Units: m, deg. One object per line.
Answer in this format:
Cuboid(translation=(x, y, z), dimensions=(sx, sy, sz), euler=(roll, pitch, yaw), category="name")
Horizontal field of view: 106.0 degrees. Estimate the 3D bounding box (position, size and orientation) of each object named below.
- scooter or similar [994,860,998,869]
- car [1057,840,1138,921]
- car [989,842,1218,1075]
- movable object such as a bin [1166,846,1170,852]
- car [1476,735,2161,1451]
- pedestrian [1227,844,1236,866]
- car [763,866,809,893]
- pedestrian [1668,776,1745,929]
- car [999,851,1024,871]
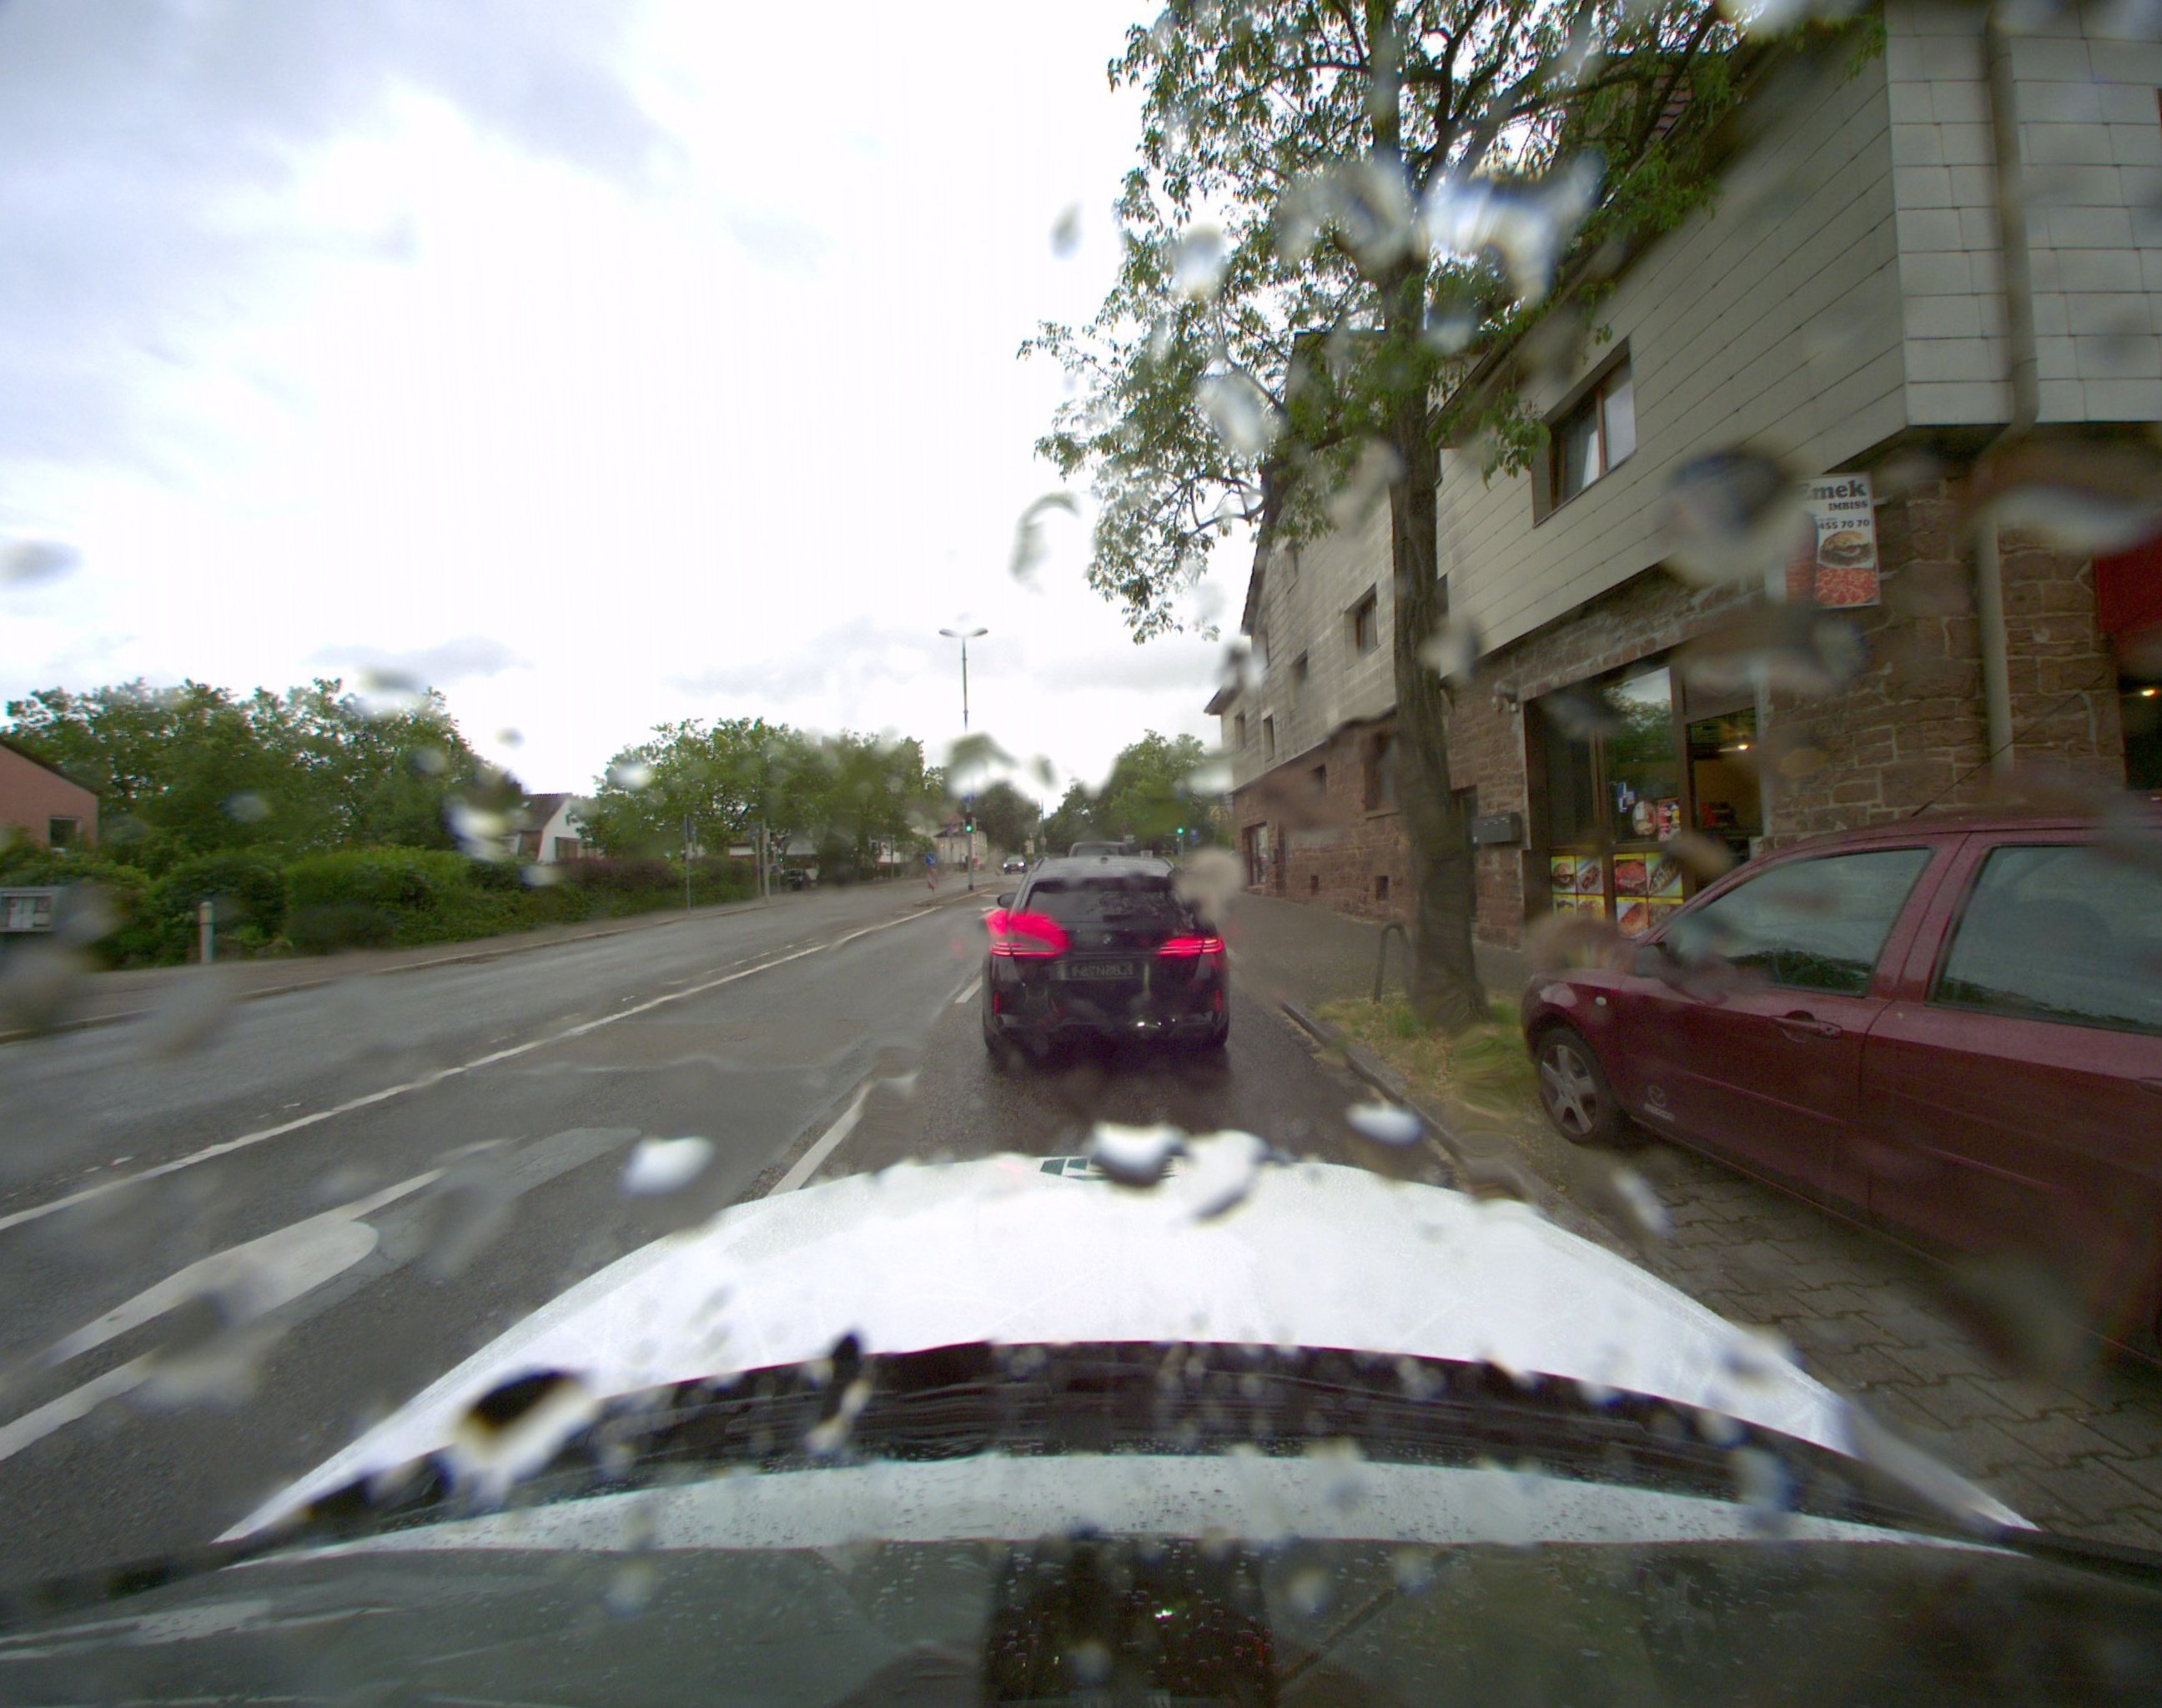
Cuboid(translation=(-10.992, 1.352, 105.418), dimensions=(0.388, 1.064, 1.409), euler=(0, -1, -2), category="scooter or similar")
Cuboid(translation=(0.343, 0.606, 20.108), dimensions=(1.807, 1.809, 3.754), euler=(0, -1, -1), category="car")
Cuboid(translation=(0.121, 0.707, 7.194), dimensions=(1.519, 1.534, 3.530), euler=(0, -1, -1), category="car")
Cuboid(translation=(12.257, -0.717, 115.223), dimensions=(0.446, 0.906, 0.465), euler=(-1, -1, 17), category="movable object such as a bin")
Cuboid(translation=(3.052, 0.531, 2.682), dimensions=(1.606, 1.504, 3.754), euler=(0, -2, -1), category="car")
Cuboid(translation=(11.341, 0.086, 61.403), dimensions=(0.597, 1.617, 0.527), euler=(-1, -1, 8), category="pedestrian")
Cuboid(translation=(-20.969, 1.768, 57.987), dimensions=(1.803, 1.551, 4.001), euler=(0, 3, 0), category="car")
Cuboid(translation=(6.952, -0.014, 9.068), dimensions=(0.490, 1.660, 0.455), euler=(0, -1, 1), category="pedestrian")
Cuboid(translation=(-6.115, 0.564, 72.143), dimensions=(1.893, 1.577, 4.500), euler=(-2, 1, -1), category="car")
